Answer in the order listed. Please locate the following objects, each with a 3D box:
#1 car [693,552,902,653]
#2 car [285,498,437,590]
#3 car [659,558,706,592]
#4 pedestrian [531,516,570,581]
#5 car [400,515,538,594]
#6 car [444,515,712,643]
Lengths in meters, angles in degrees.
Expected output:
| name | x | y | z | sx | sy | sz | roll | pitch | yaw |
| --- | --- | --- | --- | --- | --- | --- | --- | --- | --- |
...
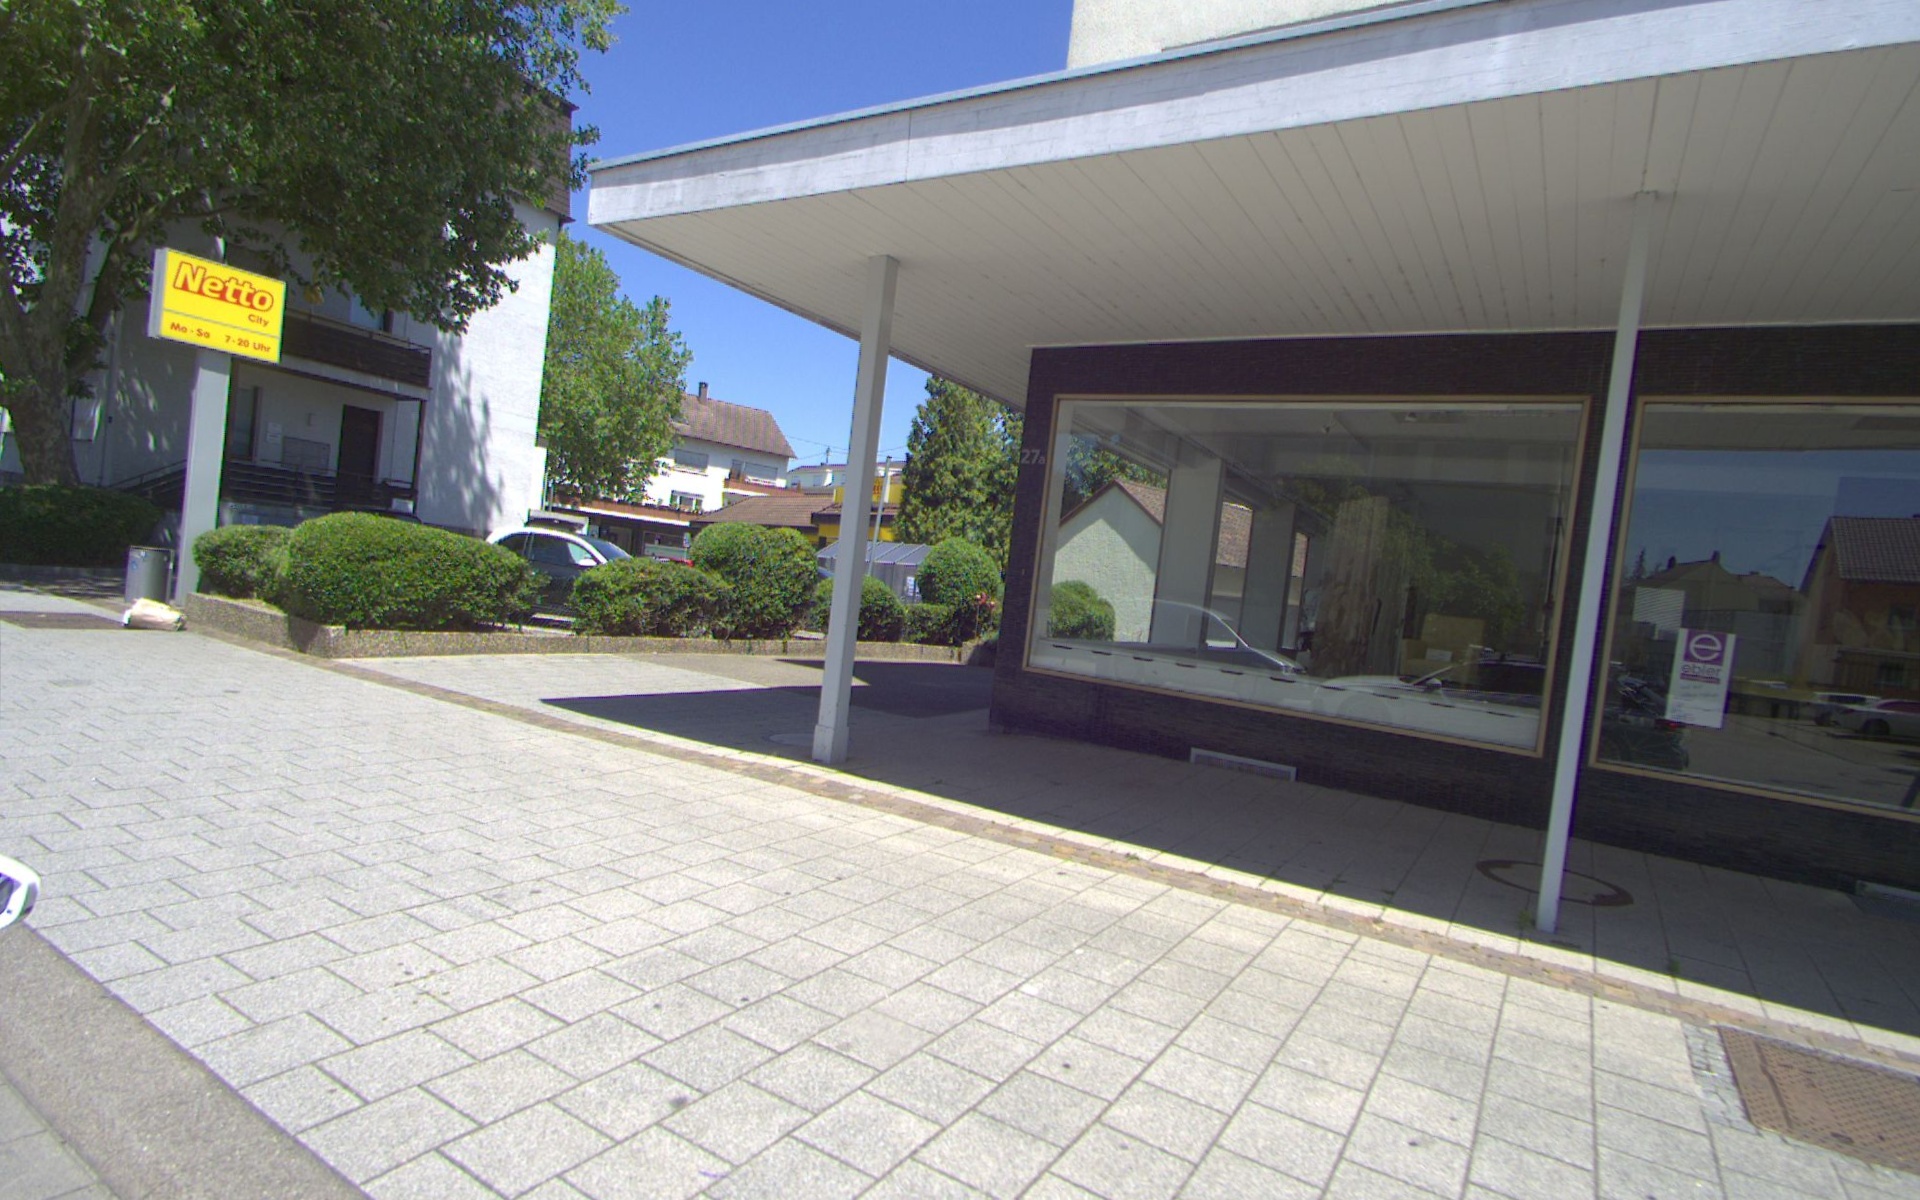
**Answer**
| name | x | y | z | sx | sy | sz | roll | pitch | yaw |
| --- | --- | --- | --- | --- | --- | --- | --- | --- | --- |
| car | -3.167 | 0.059 | 19.851 | 3.561 | 1.518 | 1.738 | 6 | 0 | 14 |
| car | -12.750 | -1.219 | 21.306 | 4.044 | 1.563 | 1.680 | 7 | 1 | 44 |
| car | -14.653 | -1.312 | 53.235 | 1.610 | 1.527 | 3.720 | 6 | 1 | -5 |
| pedestrian | -9.934 | -1.257 | 24.424 | 0.508 | 1.487 | 0.602 | 8 | 2 | 43 |
| car | -12.303 | -1.165 | 25.120 | 3.706 | 1.556 | 1.832 | 7 | 1 | 43 |
| car | -5.877 | -0.321 | 15.753 | 3.398 | 1.519 | 1.737 | 6 | 1 | 1 |
